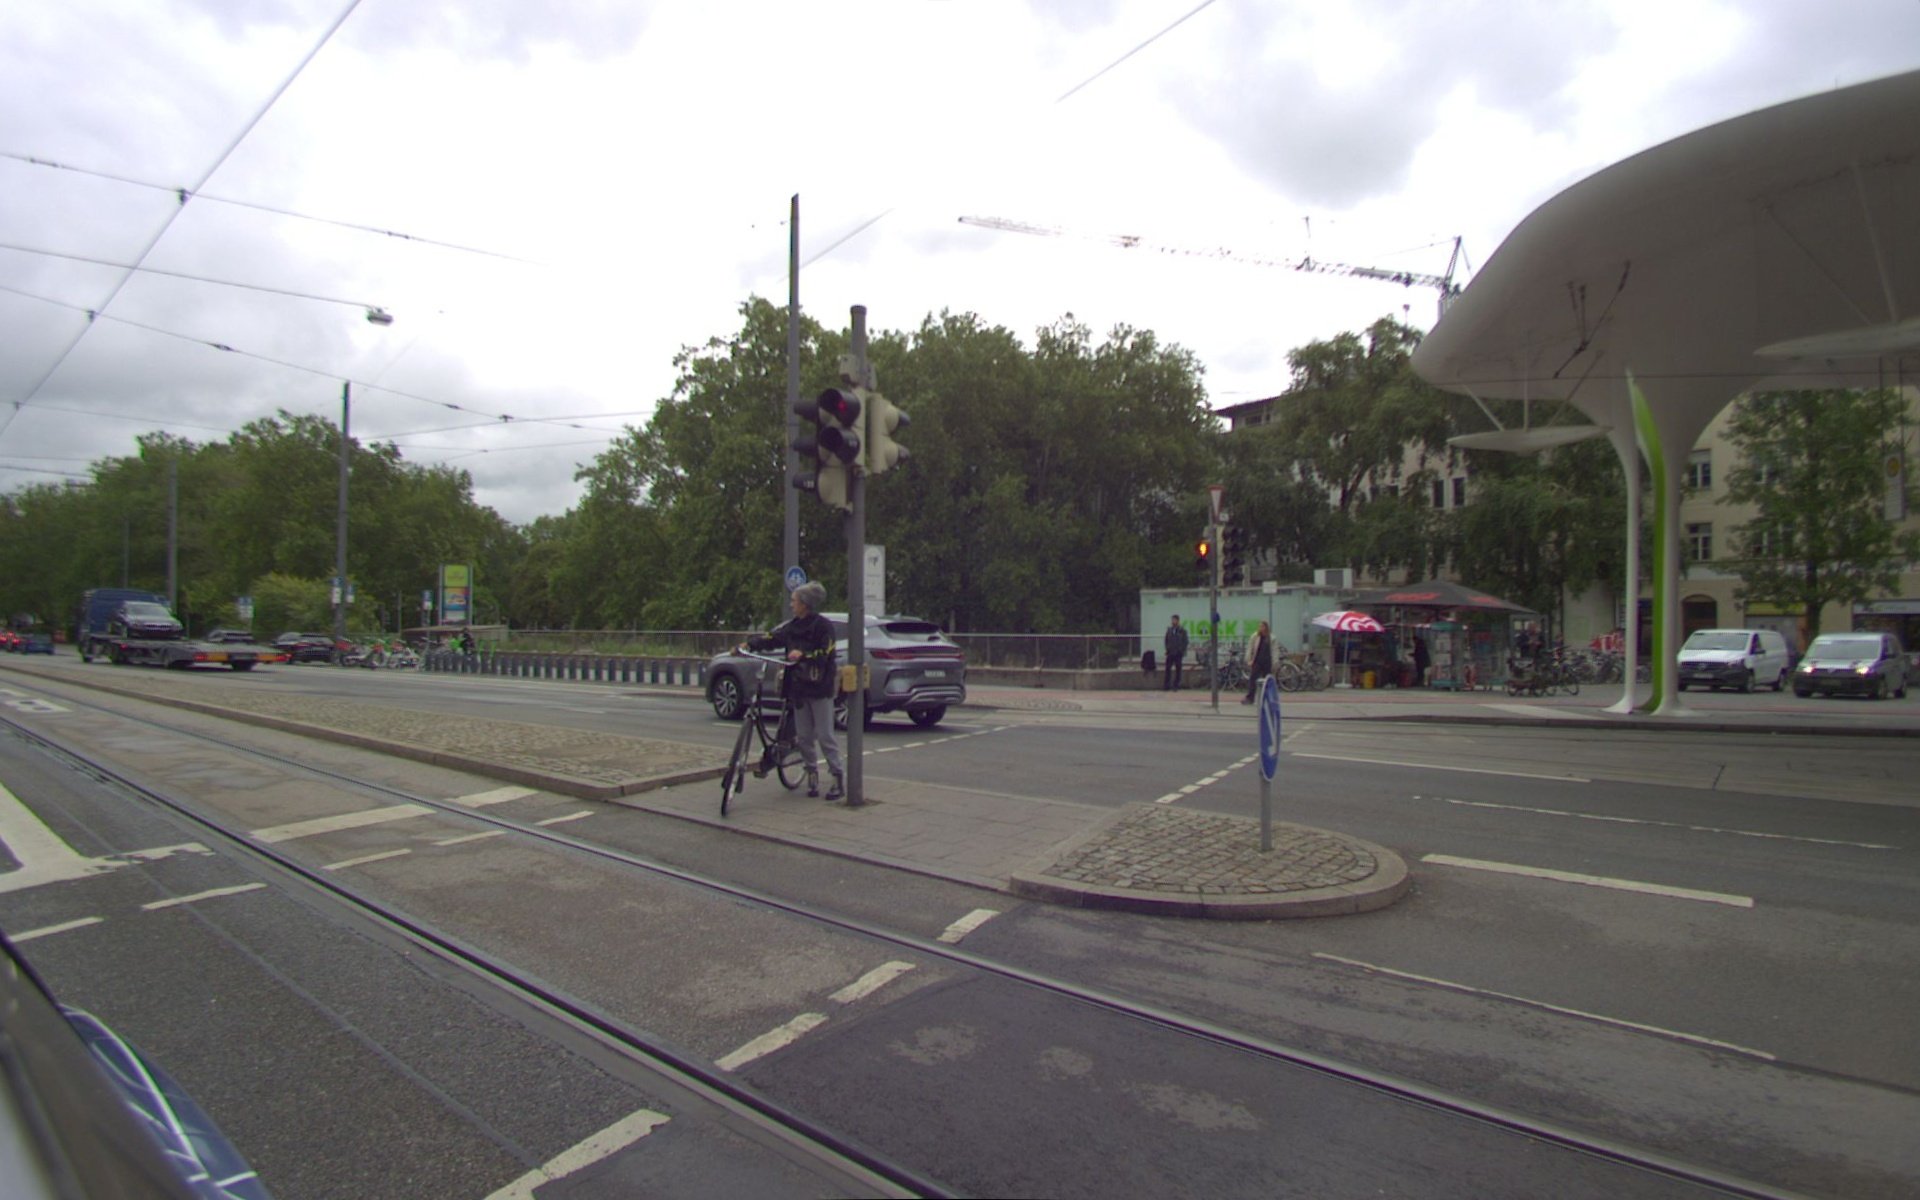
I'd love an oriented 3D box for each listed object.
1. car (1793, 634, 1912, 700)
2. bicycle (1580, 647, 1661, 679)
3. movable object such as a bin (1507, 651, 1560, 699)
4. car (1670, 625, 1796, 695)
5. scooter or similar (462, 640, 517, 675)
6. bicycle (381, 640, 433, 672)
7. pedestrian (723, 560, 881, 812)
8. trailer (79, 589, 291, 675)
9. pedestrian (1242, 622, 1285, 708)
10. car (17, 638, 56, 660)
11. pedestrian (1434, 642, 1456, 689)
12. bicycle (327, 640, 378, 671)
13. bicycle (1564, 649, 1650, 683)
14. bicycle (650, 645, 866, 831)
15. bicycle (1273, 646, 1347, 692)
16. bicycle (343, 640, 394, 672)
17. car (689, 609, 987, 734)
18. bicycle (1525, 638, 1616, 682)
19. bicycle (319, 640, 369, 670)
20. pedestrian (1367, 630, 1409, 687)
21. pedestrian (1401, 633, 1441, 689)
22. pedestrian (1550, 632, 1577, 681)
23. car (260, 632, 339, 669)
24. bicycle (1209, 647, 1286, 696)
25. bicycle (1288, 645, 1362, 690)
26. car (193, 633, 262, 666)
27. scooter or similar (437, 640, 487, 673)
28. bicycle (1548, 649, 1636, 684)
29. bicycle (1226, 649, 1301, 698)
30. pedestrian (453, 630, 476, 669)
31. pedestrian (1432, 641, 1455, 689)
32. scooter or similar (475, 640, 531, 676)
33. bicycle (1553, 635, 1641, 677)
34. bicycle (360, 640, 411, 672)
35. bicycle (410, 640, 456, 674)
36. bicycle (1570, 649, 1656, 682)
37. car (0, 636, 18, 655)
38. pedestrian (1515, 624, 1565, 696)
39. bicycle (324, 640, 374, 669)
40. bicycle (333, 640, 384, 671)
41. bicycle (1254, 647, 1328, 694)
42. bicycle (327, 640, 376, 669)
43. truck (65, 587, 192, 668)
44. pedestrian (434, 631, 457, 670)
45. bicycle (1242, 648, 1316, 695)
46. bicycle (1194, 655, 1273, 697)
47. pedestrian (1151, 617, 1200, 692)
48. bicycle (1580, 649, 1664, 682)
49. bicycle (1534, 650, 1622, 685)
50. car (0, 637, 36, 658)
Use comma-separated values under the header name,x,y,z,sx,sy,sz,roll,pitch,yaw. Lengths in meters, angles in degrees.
name,x,y,z,sx,sy,sz,roll,pitch,yaw
car,23.886,1.716,27.051,3.937,1.628,1.834,2,-3,-41
bicycle,25.036,2.387,38.397,2.523,1.138,0.635,-1,-2,42
movable object such as a bin,14.016,1.820,24.722,0.956,1.092,1.320,-1,-2,38
car,23.391,1.751,30.560,4.851,1.962,1.874,2,-2,-38
scooter or similar,-16.444,1.998,35.407,0.561,1.181,1.671,-2,-2,38
bicycle,-21.183,2.124,38.787,0.560,1.181,1.675,-1,-2,31
pedestrian,-1.235,0.626,7.930,0.896,1.825,0.850,-1,-1,36
trailer,-29.396,1.223,37.856,15.621,2.703,2.584,-1,-4,39
pedestrian,5.925,1.250,19.752,0.737,1.641,0.734,-1,-2,20
car,-72.080,3.797,78.951,3.998,1.655,1.786,-2,-2,41
pedestrian,13.370,1.803,27.895,0.405,1.279,0.431,2,-3,-44
bicycle,-24.312,2.206,40.517,0.504,1.181,1.674,-1,-2,33
bicycle,23.121,2.329,36.222,2.523,1.138,0.635,-1,-2,42
bicycle,-1.473,0.970,7.877,0.503,1.159,2.214,0,0,23
bicycle,8.933,1.736,25.911,0.472,1.104,1.854,1,-2,-35
bicycle,-23.116,2.174,39.583,0.504,1.181,1.675,-1,-2,31
car,-1.992,1.044,15.625,4.674,1.651,1.844,-1,-4,40
bicycle,20.767,2.007,34.479,2.562,1.432,0.627,-1,-2,42
bicycle,-24.886,2.221,40.918,0.504,1.181,1.673,-2,-2,34
pedestrian,12.188,1.653,28.816,0.728,1.612,0.799,1,-2,-34
pedestrian,13.593,1.788,29.827,0.728,1.612,0.799,1,-2,-34
pedestrian,20.292,1.890,34.022,0.636,1.594,0.627,-2,-2,41
car,-29.435,2.218,45.035,4.231,1.537,1.840,-2,-3,41
bicycle,6.894,1.699,24.328,0.472,1.104,1.853,1,-2,-38
bicycle,9.430,1.723,26.202,0.472,1.104,1.854,1,-2,-35
car,-37.256,2.500,51.450,4.099,1.582,1.973,-2,-2,41
scooter or similar,-18.109,2.042,36.813,0.558,1.181,1.681,-1,-2,22
bicycle,22.051,2.302,35.349,2.523,1.138,0.635,-1,-2,42
bicycle,7.387,1.774,24.723,0.472,1.104,1.854,1,-2,-35
pedestrian,-20.437,2.042,41.721,0.588,1.570,0.624,-2,-3,40
pedestrian,13.086,1.760,27.405,0.405,1.279,0.431,2,-3,-44
scooter or similar,-15.593,1.975,34.583,0.561,1.181,1.671,-2,-2,38
bicycle,22.523,1.963,35.816,2.562,1.432,0.627,-1,-2,42
bicycle,-22.286,2.153,39.289,0.560,1.181,1.675,-1,-2,31
bicycle,-19.294,2.073,37.094,0.556,1.181,1.687,-1,-2,11
bicycle,23.698,2.354,36.767,2.523,1.138,0.635,-2,-2,42
car,-85.406,4.074,90.167,3.998,1.655,1.786,-2,-2,41
pedestrian,14.719,1.506,25.671,0.956,1.776,1.019,-1,-2,38
bicycle,-25.400,2.248,42.103,0.561,1.181,1.672,-2,-2,38
bicycle,-23.852,2.194,40.156,0.560,1.181,1.675,-1,-2,31
bicycle,8.317,1.751,25.501,0.472,1.104,1.854,1,-2,-35
bicycle,-25.044,2.226,41.665,0.505,1.181,1.672,-2,-2,37
truck,-34.895,1.204,42.344,7.683,3.111,2.540,-2,-4,39
pedestrian,-20.851,2.052,41.043,0.588,1.570,0.624,-2,-3,40
bicycle,7.916,1.761,25.172,0.472,1.104,1.854,1,-2,-35
bicycle,6.461,1.782,23.992,0.473,0.901,1.852,2,-2,-41
pedestrian,5.106,1.267,23.953,0.725,1.729,0.862,1,-2,-38
bicycle,24.490,2.405,37.462,2.523,1.138,0.635,-2,-3,42
bicycle,21.266,2.299,34.866,2.523,1.138,0.635,-2,-3,42
car,-78.717,3.945,84.542,3.998,1.655,1.786,-2,-2,41
